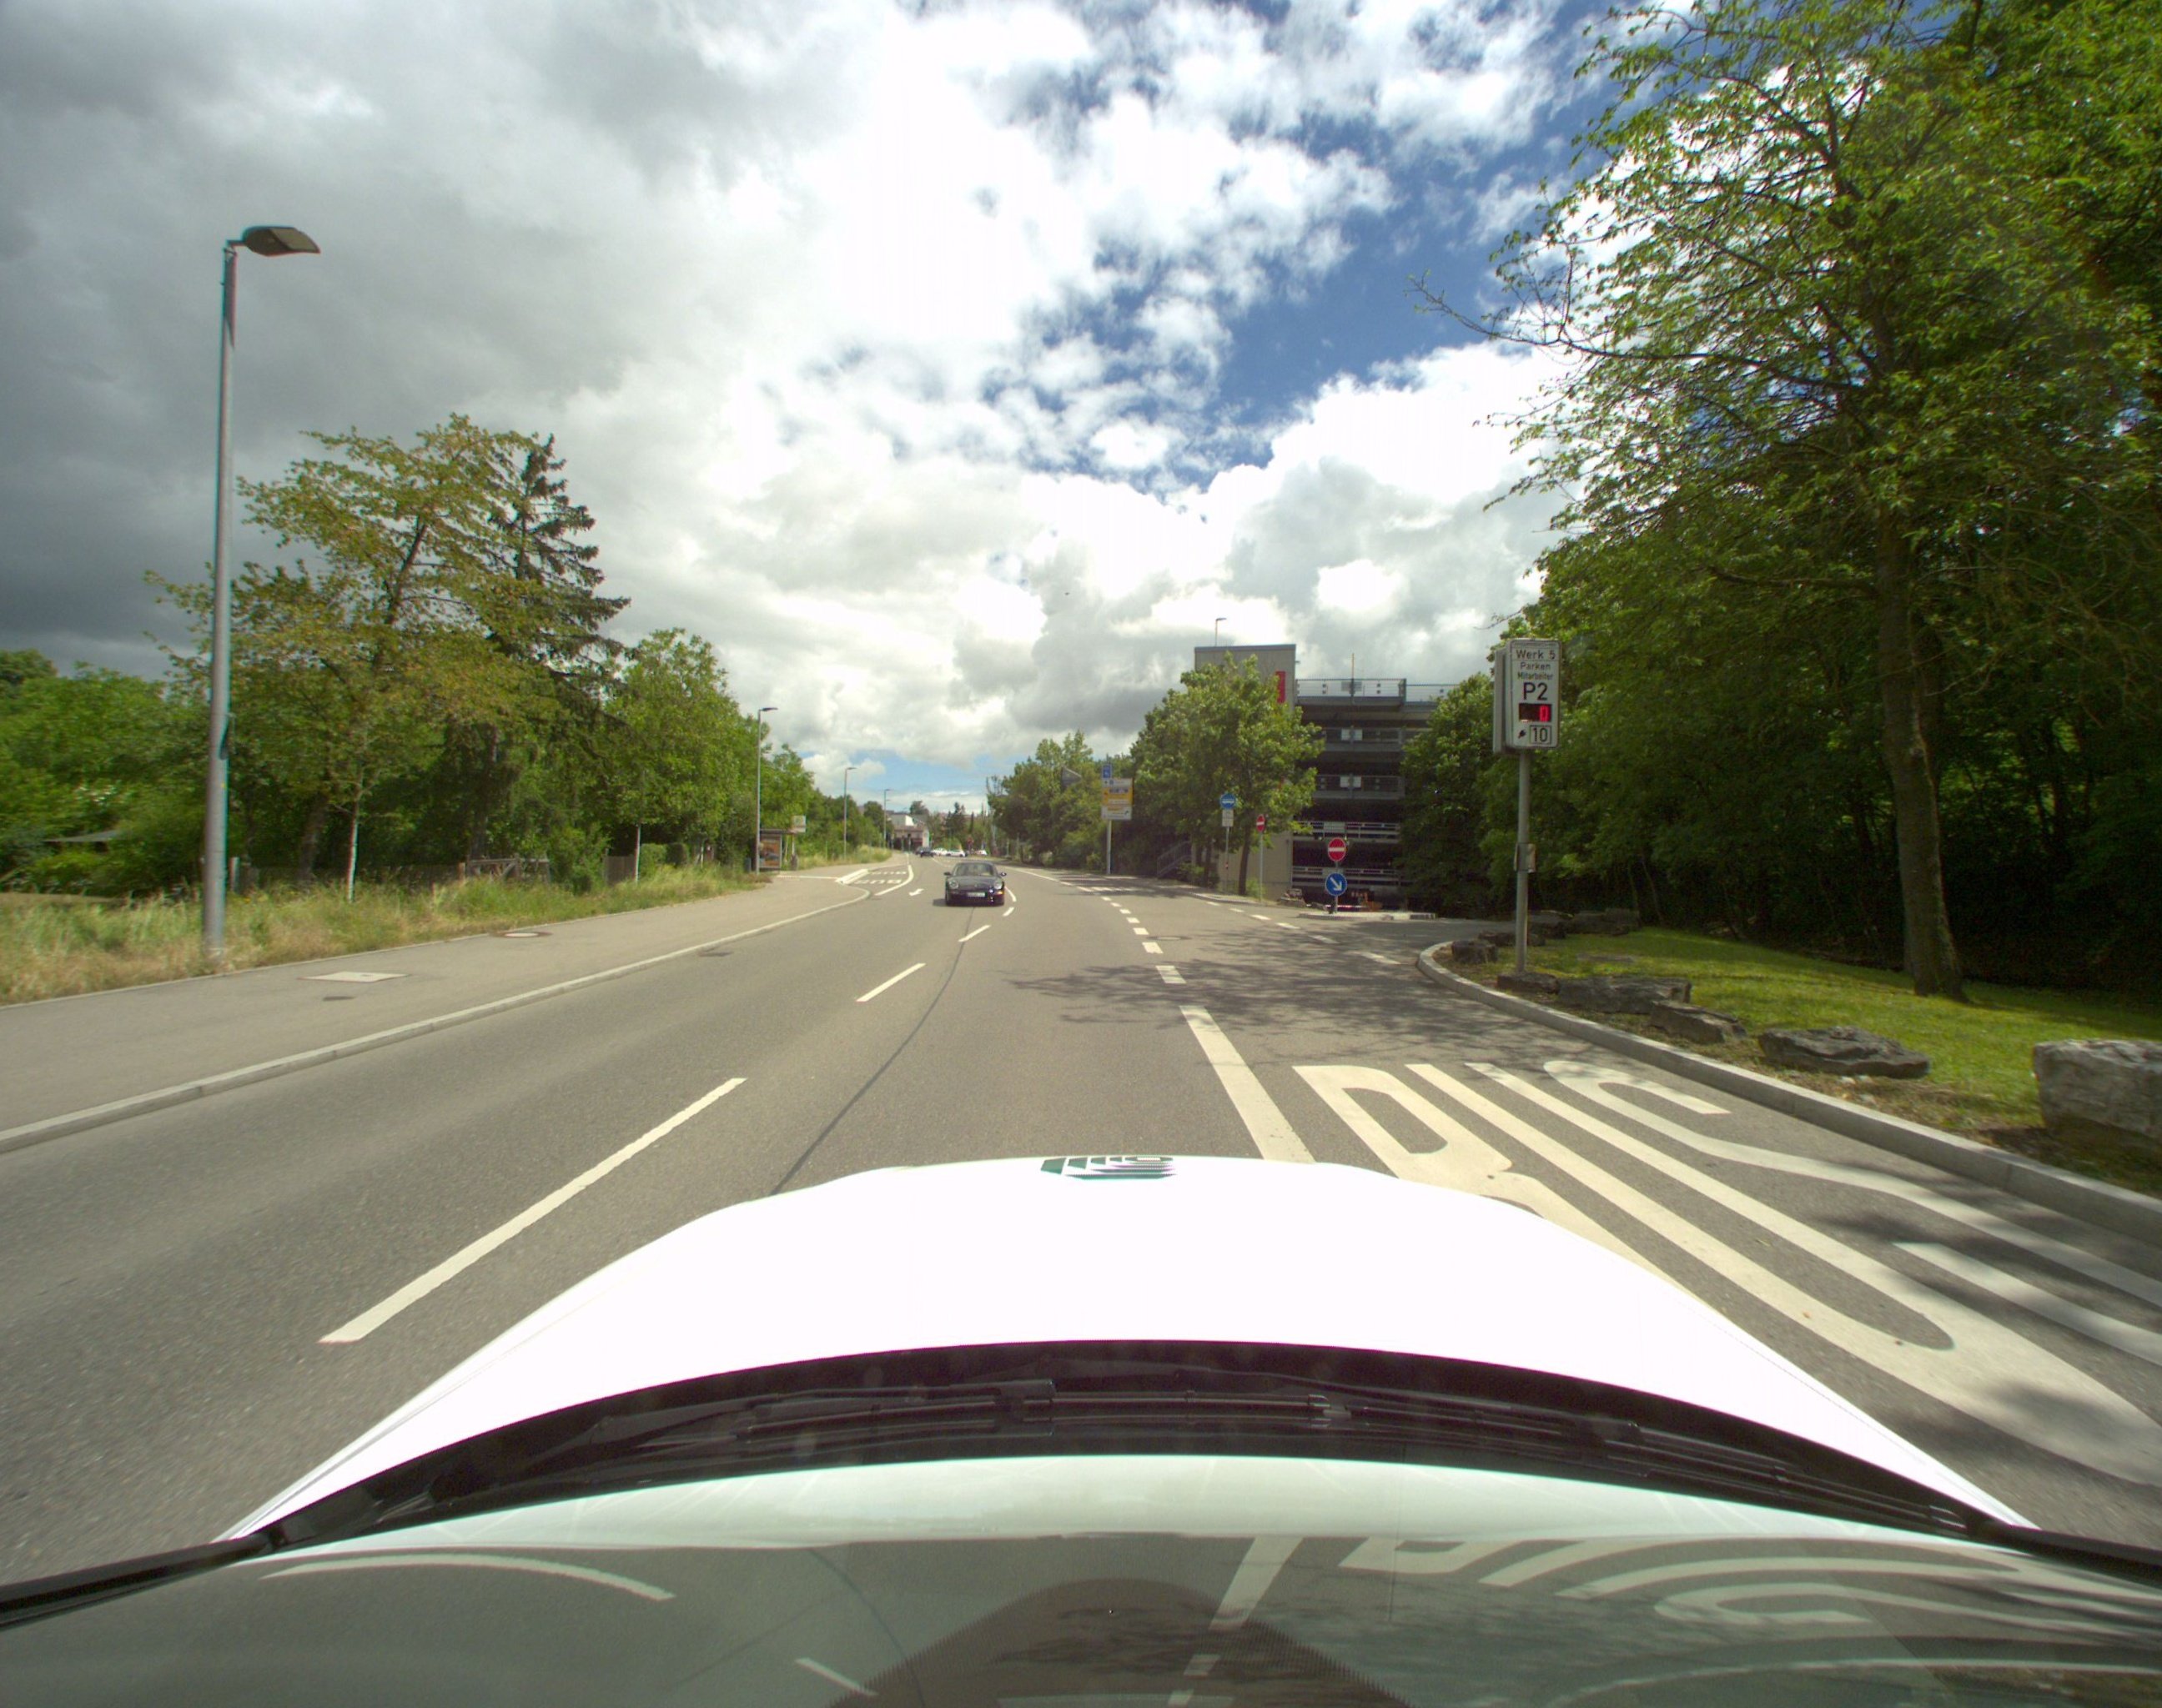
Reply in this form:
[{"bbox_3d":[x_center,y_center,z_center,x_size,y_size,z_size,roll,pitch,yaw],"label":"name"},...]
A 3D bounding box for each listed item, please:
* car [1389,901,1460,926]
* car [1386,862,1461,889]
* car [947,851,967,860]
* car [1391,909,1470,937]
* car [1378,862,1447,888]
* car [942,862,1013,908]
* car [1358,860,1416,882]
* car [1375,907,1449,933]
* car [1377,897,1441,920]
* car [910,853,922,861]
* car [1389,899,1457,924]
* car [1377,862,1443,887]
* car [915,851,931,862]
[{"bbox_3d":[23.563,4.095,56.063,4.280,1.418,2.009,1,0,16],"label":"car"},{"bbox_3d":[22.004,1.352,52.483,4.280,1.630,2.009,1,0,16],"label":"car"},{"bbox_3d":[-26.142,0.292,171.942,3.991,1.904,1.991,0,0,-13],"label":"car"},{"bbox_3d":[21.442,4.208,50.110,4.280,1.418,2.009,1,0,16],"label":"car"},{"bbox_3d":[23.176,1.437,57.026,4.280,1.630,2.009,1,0,16],"label":"car"},{"bbox_3d":[-3.112,0.889,25.146,1.729,1.301,4.003,0,-1,-1],"label":"car"},{"bbox_3d":[24.715,1.354,65.958,4.280,1.630,2.009,1,0,16],"label":"car"},{"bbox_3d":[21.533,4.280,53.104,4.280,1.418,2.009,1,0,16],"label":"car"},{"bbox_3d":[24.304,4.034,60.517,4.280,1.489,2.009,1,0,16],"label":"car"},{"bbox_3d":[-28.129,0.534,139.050,1.769,1.442,4.356,0,0,-14],"label":"car"},{"bbox_3d":[24.295,4.089,58.022,4.280,1.489,2.009,1,0,16],"label":"car"},{"bbox_3d":[23.777,1.469,59.014,4.280,1.630,2.009,1,0,16],"label":"car"},{"bbox_3d":[-22.901,0.382,118.043,1.826,1.557,4.603,0,0,-16],"label":"car"}]
